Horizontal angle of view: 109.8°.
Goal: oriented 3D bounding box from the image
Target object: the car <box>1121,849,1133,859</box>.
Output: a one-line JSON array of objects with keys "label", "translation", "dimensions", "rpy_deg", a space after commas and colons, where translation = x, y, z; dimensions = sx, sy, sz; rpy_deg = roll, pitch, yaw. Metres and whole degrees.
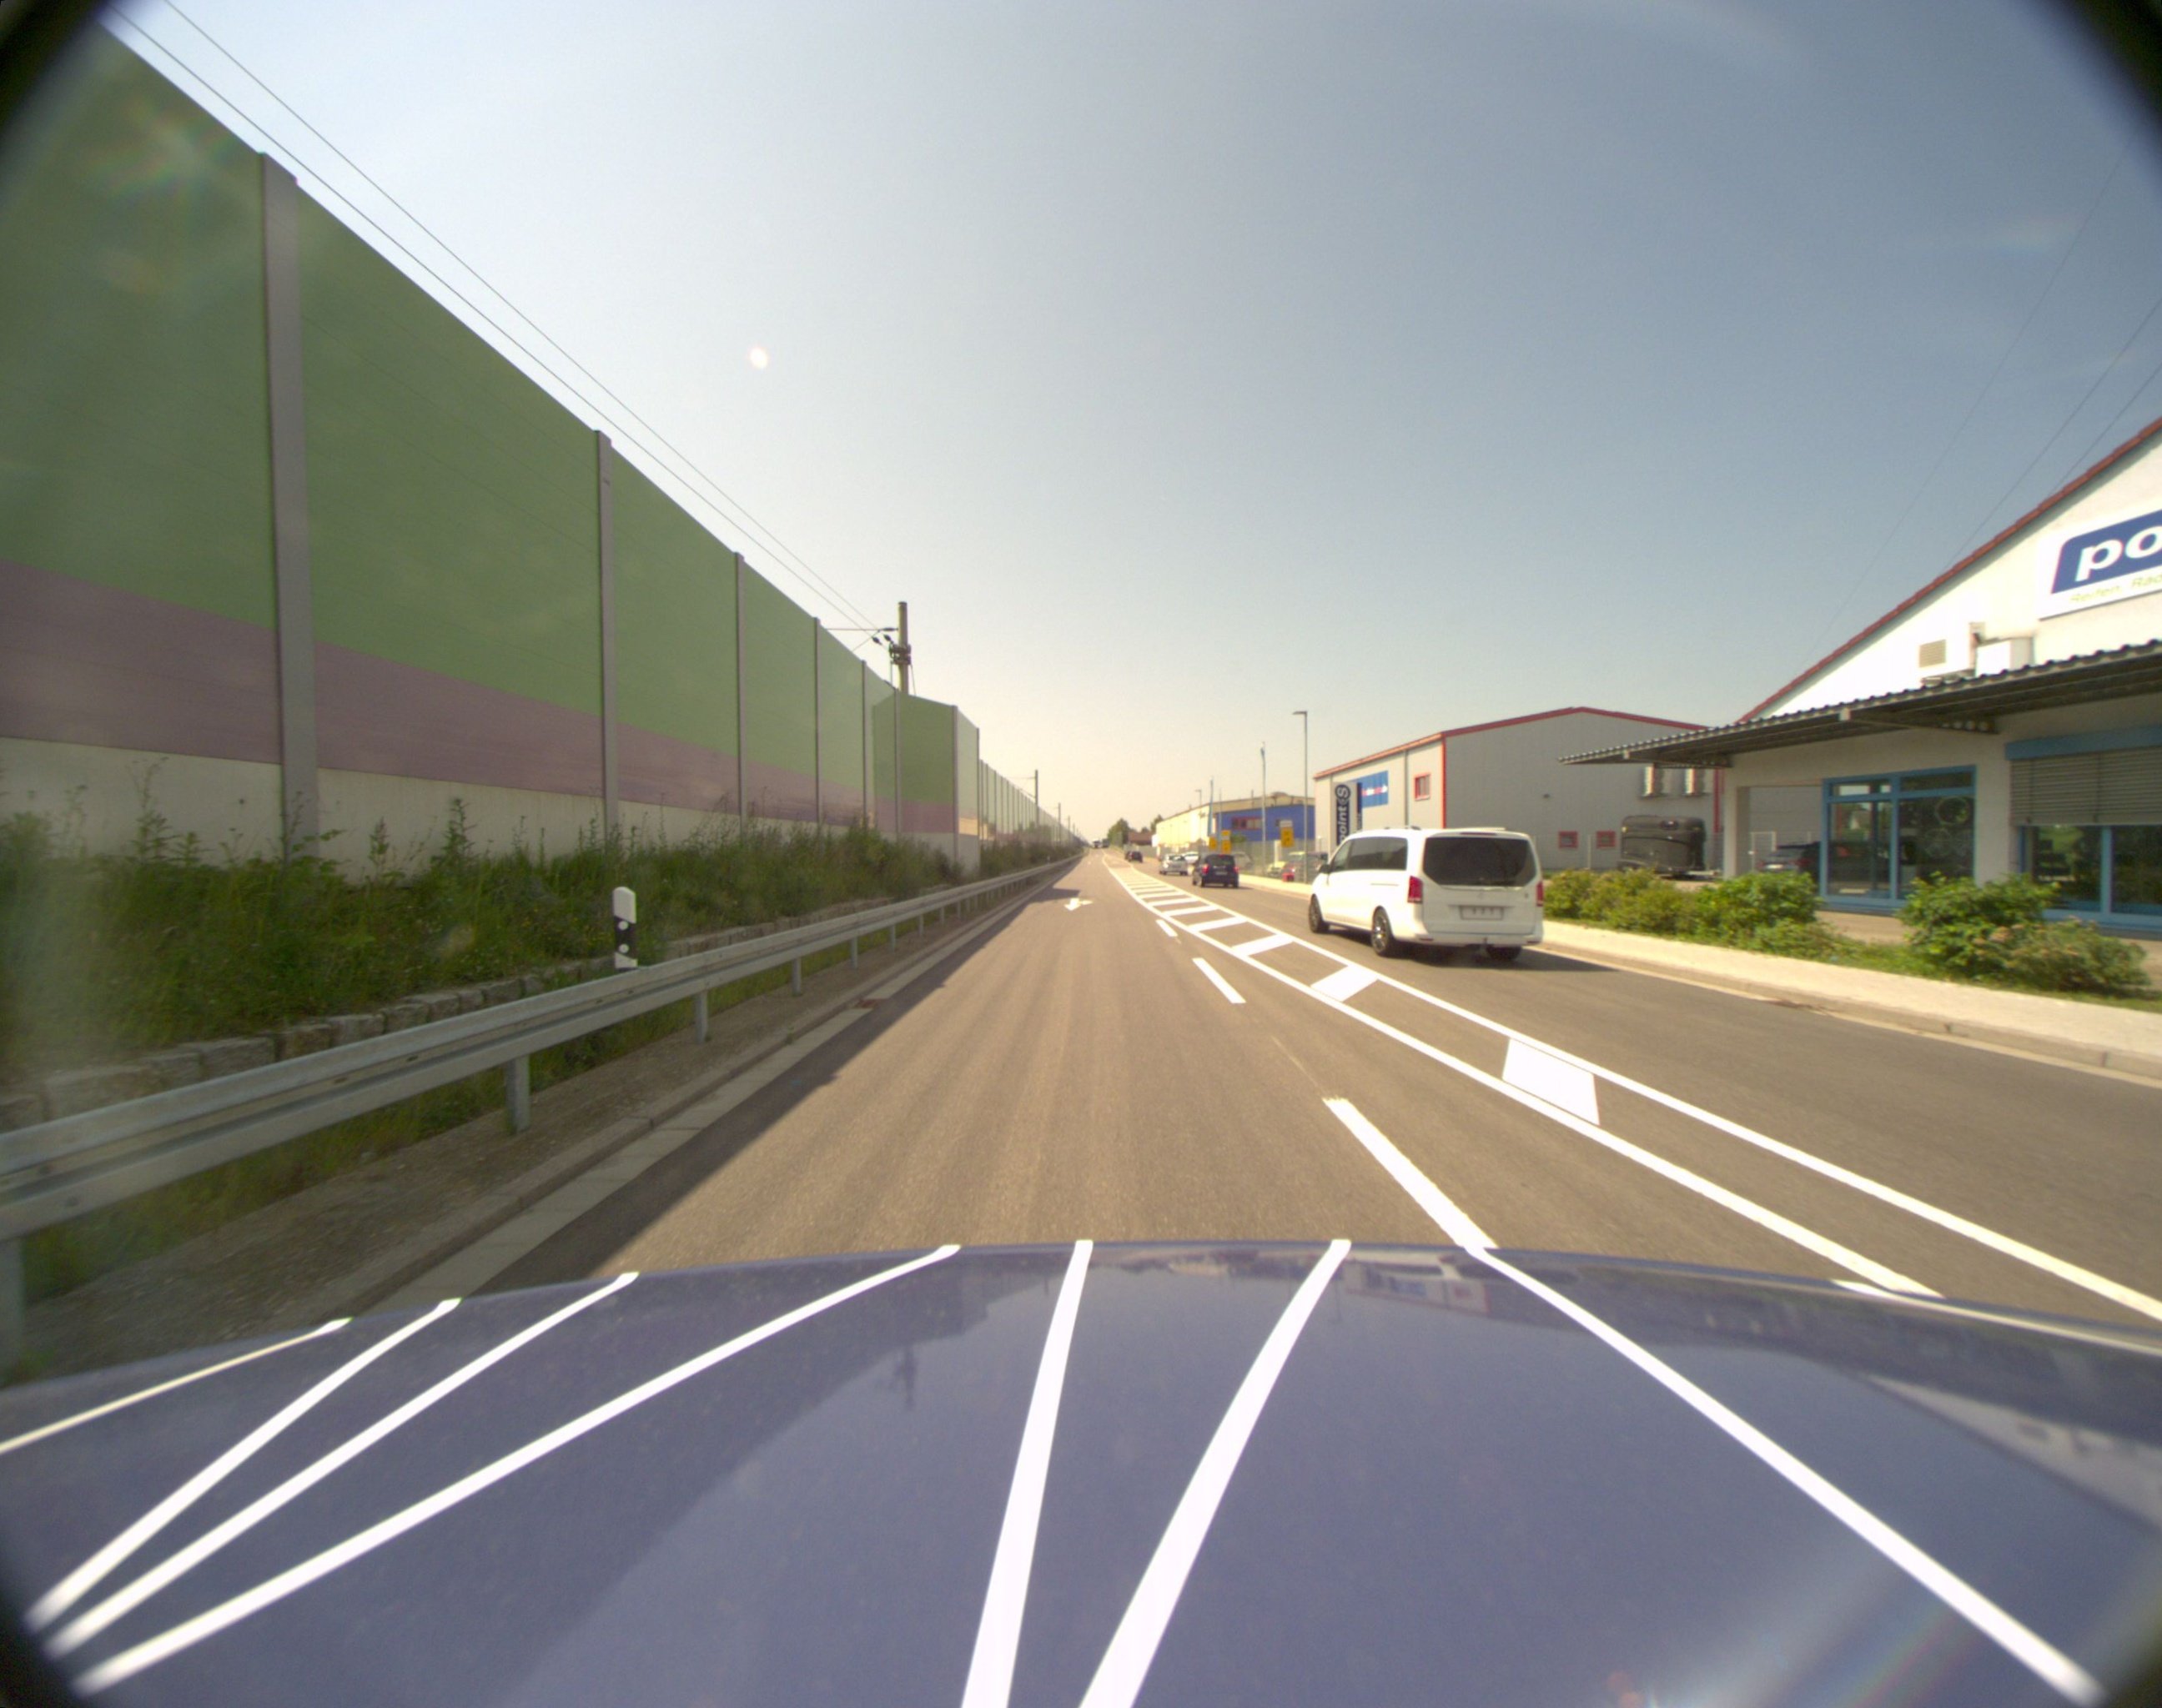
[{"label": "car", "translation": [7.739, 0.045, 128.461], "dimensions": [1.746, 1.584, 3.796], "rpy_deg": [2, 0, 1]}]

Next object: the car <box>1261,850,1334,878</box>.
[{"label": "car", "translation": [12.291, 0.550, 43.036], "dimensions": [4.101, 1.485, 1.739], "rpy_deg": [-1, 1, -34]}]

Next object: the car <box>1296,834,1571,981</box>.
[{"label": "car", "translation": [5.257, 0.655, 12.353], "dimensions": [1.999, 1.863, 5.168], "rpy_deg": [1, 1, 0]}]

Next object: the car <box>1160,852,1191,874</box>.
[{"label": "car", "translation": [6.584, 0.603, 53.221], "dimensions": [1.768, 1.457, 4.259], "rpy_deg": [1, 0, 2]}]

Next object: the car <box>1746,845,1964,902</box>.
[{"label": "car", "translation": [20.973, 0.500, 20.738], "dimensions": [3.995, 1.477, 1.785], "rpy_deg": [0, 0, 4]}]

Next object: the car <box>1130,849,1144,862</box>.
[{"label": "car", "translation": [7.743, 0.181, 105.541], "dimensions": [1.885, 1.607, 4.523], "rpy_deg": [2, 1, 3]}]

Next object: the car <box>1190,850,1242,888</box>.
[{"label": "car", "translation": [6.104, 0.635, 34.722], "dimensions": [1.672, 1.591, 3.972], "rpy_deg": [1, 0, 1]}]

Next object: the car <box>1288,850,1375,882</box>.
[{"label": "car", "translation": [12.567, 0.571, 38.140], "dimensions": [4.005, 1.485, 1.740], "rpy_deg": [-1, 0, -24]}]

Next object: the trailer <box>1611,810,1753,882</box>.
[{"label": "trailer", "translation": [25.932, -0.380, 33.060], "dimensions": [2.167, 2.832, 5.123], "rpy_deg": [-2, 1, 1]}]

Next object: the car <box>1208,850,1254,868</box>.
[{"label": "car", "translation": [12.588, 0.421, 63.717], "dimensions": [3.491, 1.456, 1.587], "rpy_deg": [-1, 1, -24]}]

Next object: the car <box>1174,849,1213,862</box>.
[{"label": "car", "translation": [13.184, 0.197, 88.974], "dimensions": [4.152, 1.493, 1.778], "rpy_deg": [-1, 0, 21]}]

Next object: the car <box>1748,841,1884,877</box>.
[{"label": "car", "translation": [31.275, 0.190, 32.535], "dimensions": [1.782, 1.440, 4.193], "rpy_deg": [0, 0, 1]}]

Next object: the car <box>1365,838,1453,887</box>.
[{"label": "car", "translation": [14.464, 0.313, 33.833], "dimensions": [1.998, 2.002, 4.680], "rpy_deg": [0, 1, 2]}]
